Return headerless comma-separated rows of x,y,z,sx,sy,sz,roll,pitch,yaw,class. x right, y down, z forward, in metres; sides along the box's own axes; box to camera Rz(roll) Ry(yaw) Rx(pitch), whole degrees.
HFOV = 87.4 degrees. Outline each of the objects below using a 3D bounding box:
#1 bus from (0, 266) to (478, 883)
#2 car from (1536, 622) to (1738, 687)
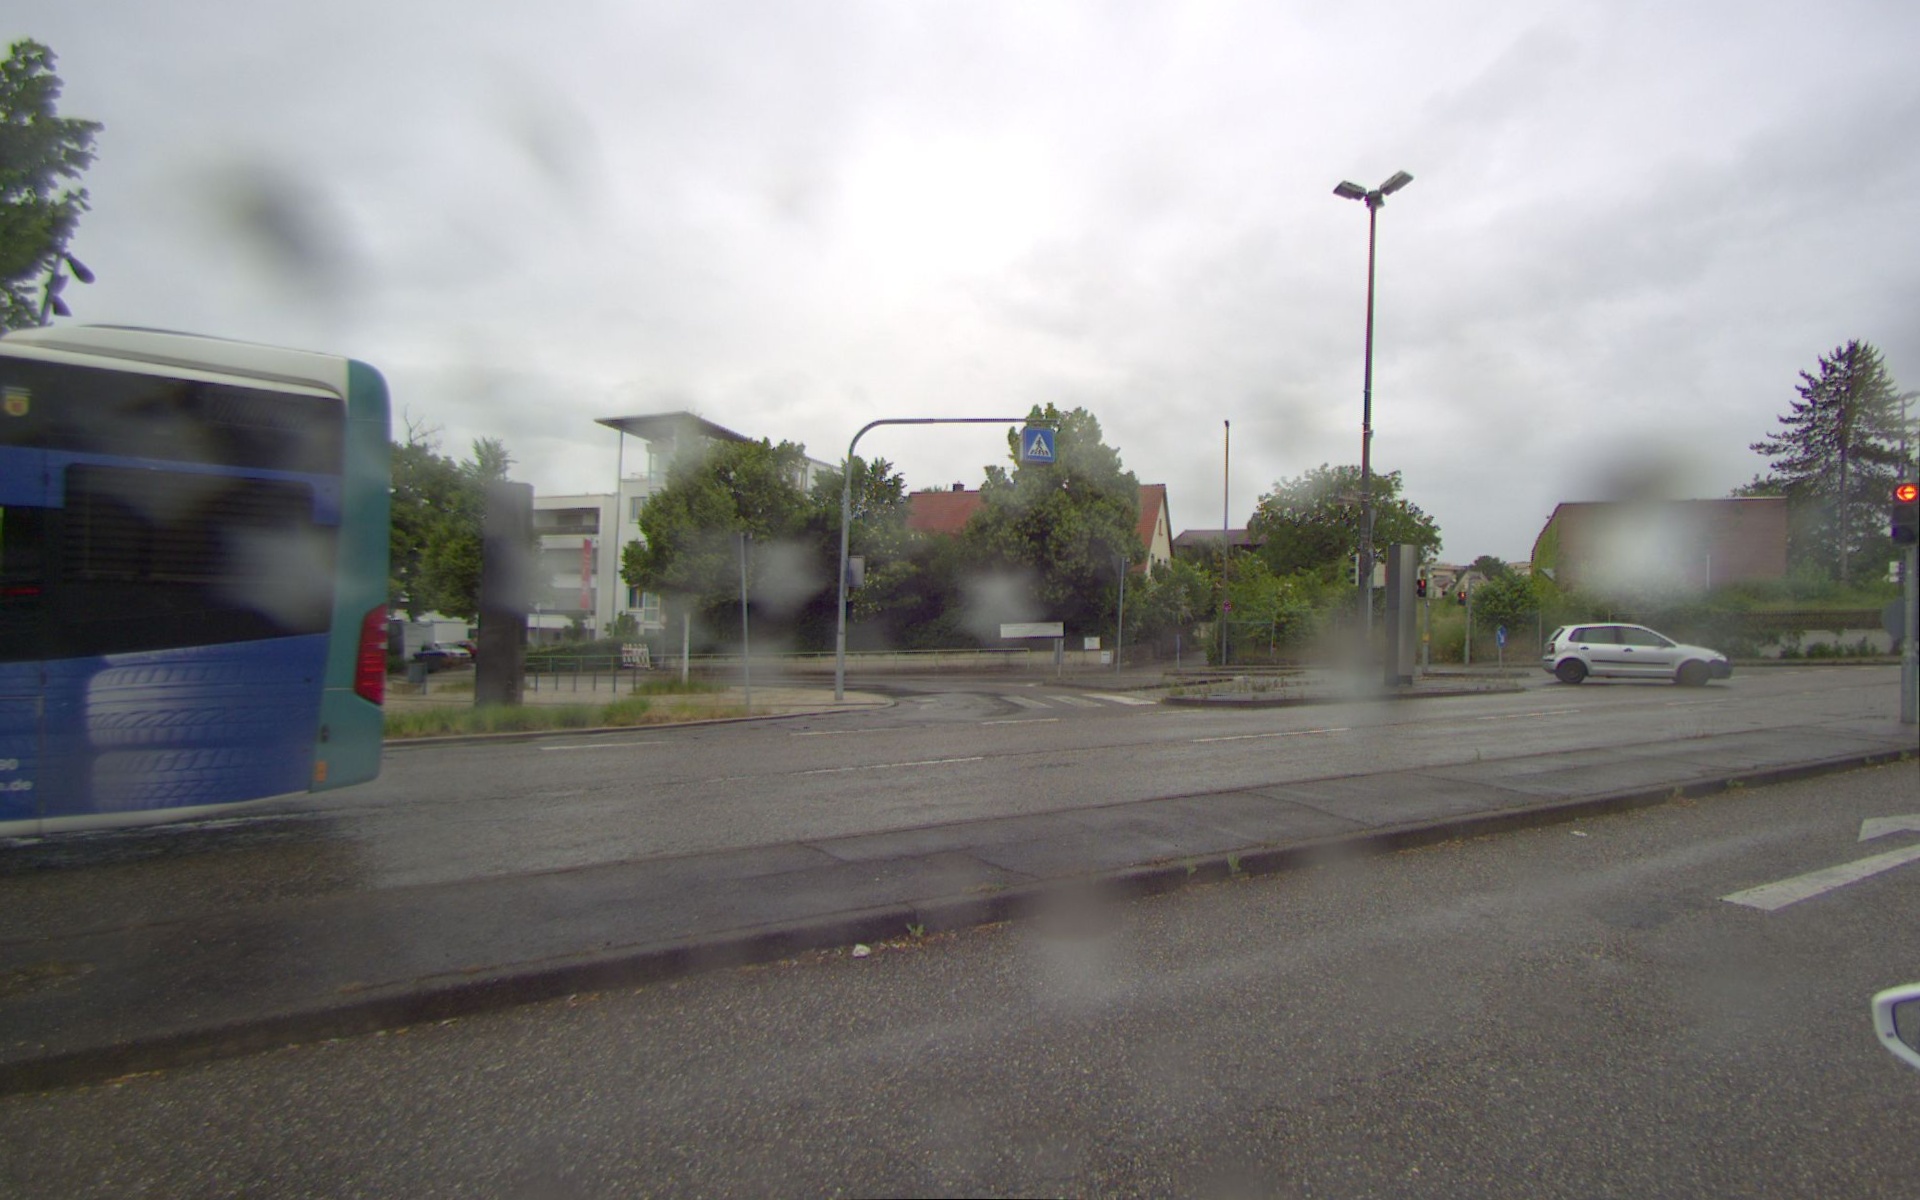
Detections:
-7.604,-0.192,4.638,9.293,3.155,2.753,2,-2,-40,bus
16.362,1.291,24.528,3.927,1.486,1.584,-1,-2,28,car
